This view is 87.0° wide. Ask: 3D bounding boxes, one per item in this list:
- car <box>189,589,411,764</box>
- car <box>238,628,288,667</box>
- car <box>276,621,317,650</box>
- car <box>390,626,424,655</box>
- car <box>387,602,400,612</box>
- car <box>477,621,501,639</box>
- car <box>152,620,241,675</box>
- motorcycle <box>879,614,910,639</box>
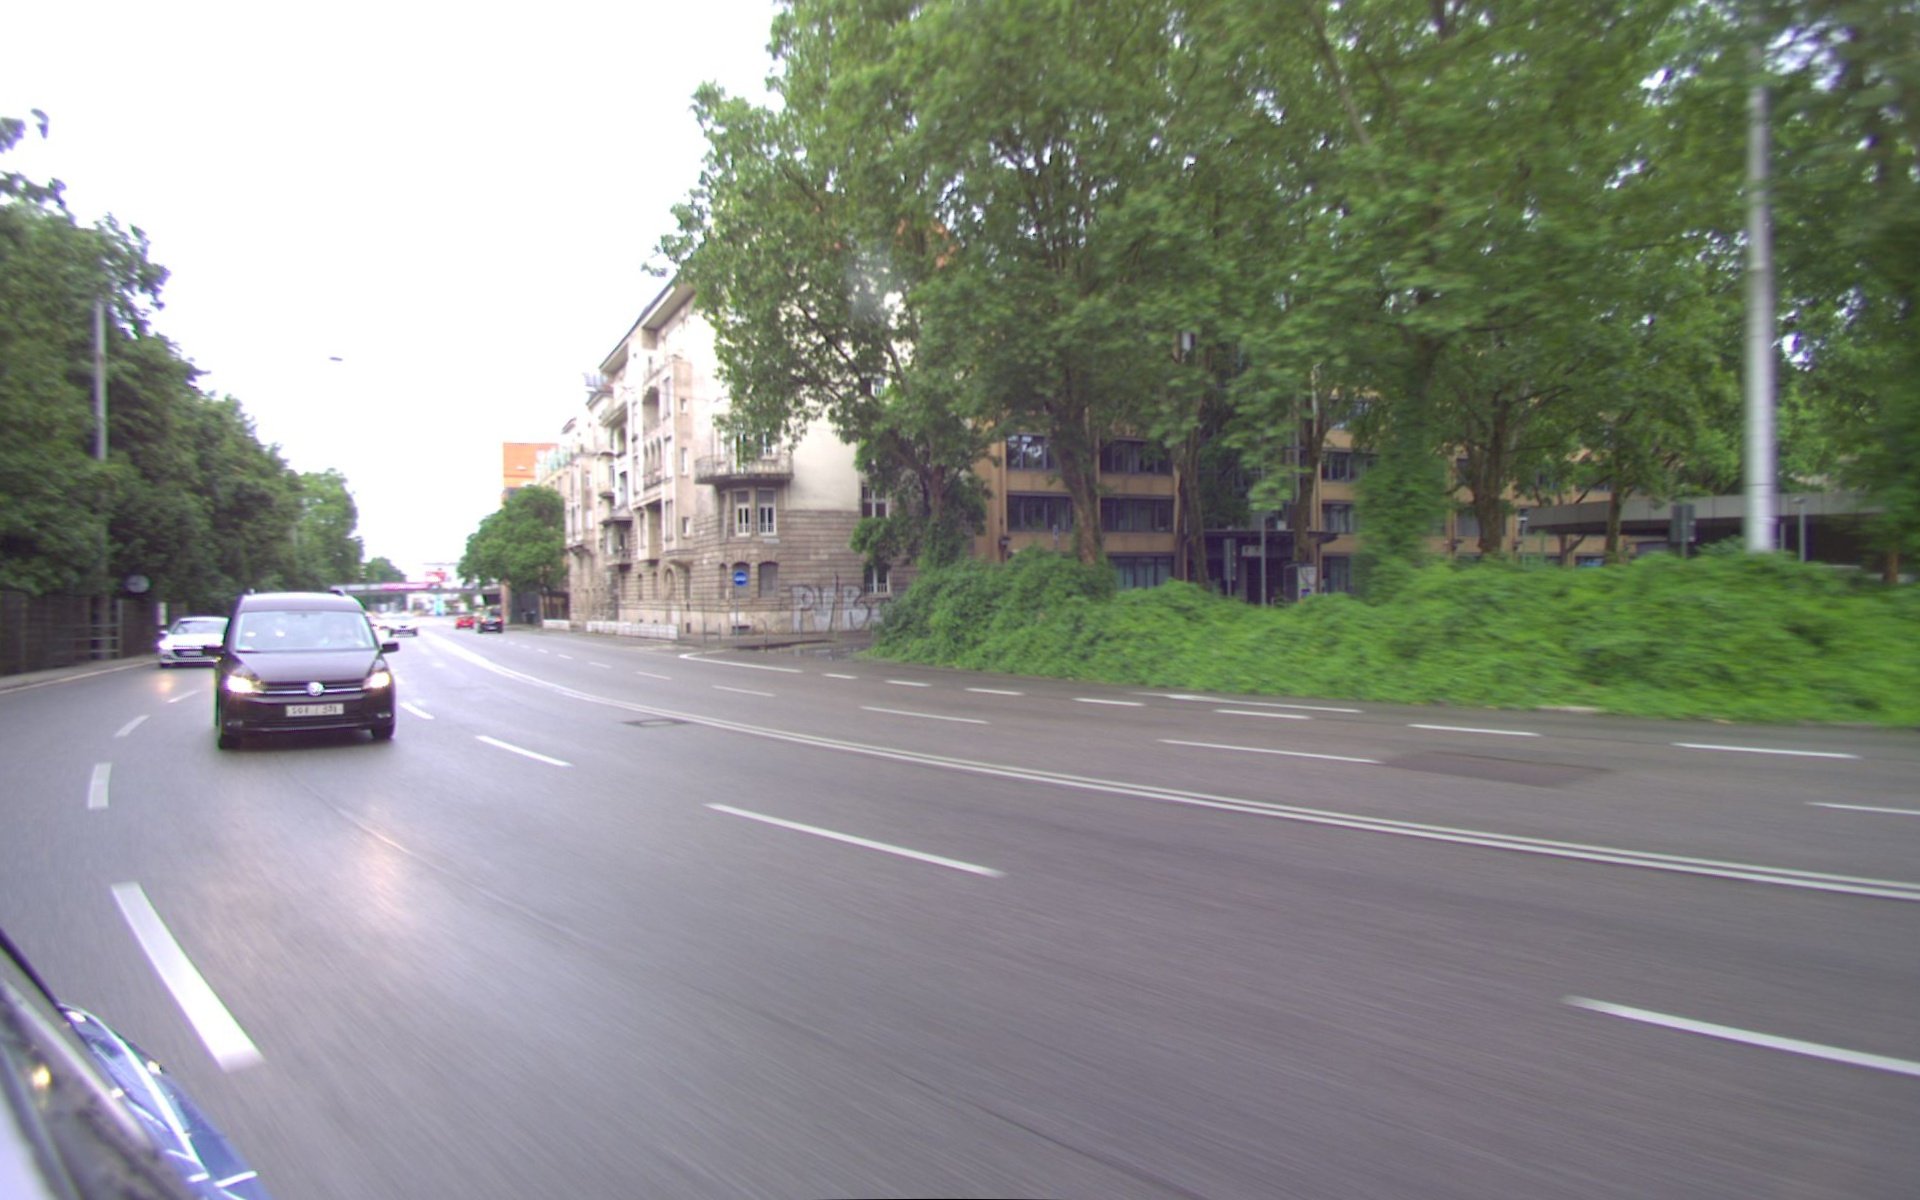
[{"bbox_3d":[-8.320,0.849,12.600,1.814,1.805,4.006,1,-2,-41],"label":"car"},{"bbox_3d":[-32.942,2.190,47.826,1.773,1.608,4.010,-3,1,-35],"label":"car"},{"bbox_3d":[-41.807,2.197,63.852,1.772,1.608,4.013,-3,1,-28],"label":"car"},{"bbox_3d":[-39.410,2.832,72.218,1.673,1.811,3.815,-3,1,-22],"label":"car"},{"bbox_3d":[-97.017,1.152,173.366,1.794,1.623,4.013,-3,1,-28],"label":"car"},{"bbox_3d":[-37.422,2.378,80.463,1.677,1.349,3.928,-1,-1,-24],"label":"car"},{"bbox_3d":[-23.050,1.381,30.674,1.703,1.450,4.012,-2,0,-31],"label":"car"},{"bbox_3d":[-3.094,1.247,47.698,0.496,1.150,2.401,-1,-1,-27],"label":"motorcycle"}]
